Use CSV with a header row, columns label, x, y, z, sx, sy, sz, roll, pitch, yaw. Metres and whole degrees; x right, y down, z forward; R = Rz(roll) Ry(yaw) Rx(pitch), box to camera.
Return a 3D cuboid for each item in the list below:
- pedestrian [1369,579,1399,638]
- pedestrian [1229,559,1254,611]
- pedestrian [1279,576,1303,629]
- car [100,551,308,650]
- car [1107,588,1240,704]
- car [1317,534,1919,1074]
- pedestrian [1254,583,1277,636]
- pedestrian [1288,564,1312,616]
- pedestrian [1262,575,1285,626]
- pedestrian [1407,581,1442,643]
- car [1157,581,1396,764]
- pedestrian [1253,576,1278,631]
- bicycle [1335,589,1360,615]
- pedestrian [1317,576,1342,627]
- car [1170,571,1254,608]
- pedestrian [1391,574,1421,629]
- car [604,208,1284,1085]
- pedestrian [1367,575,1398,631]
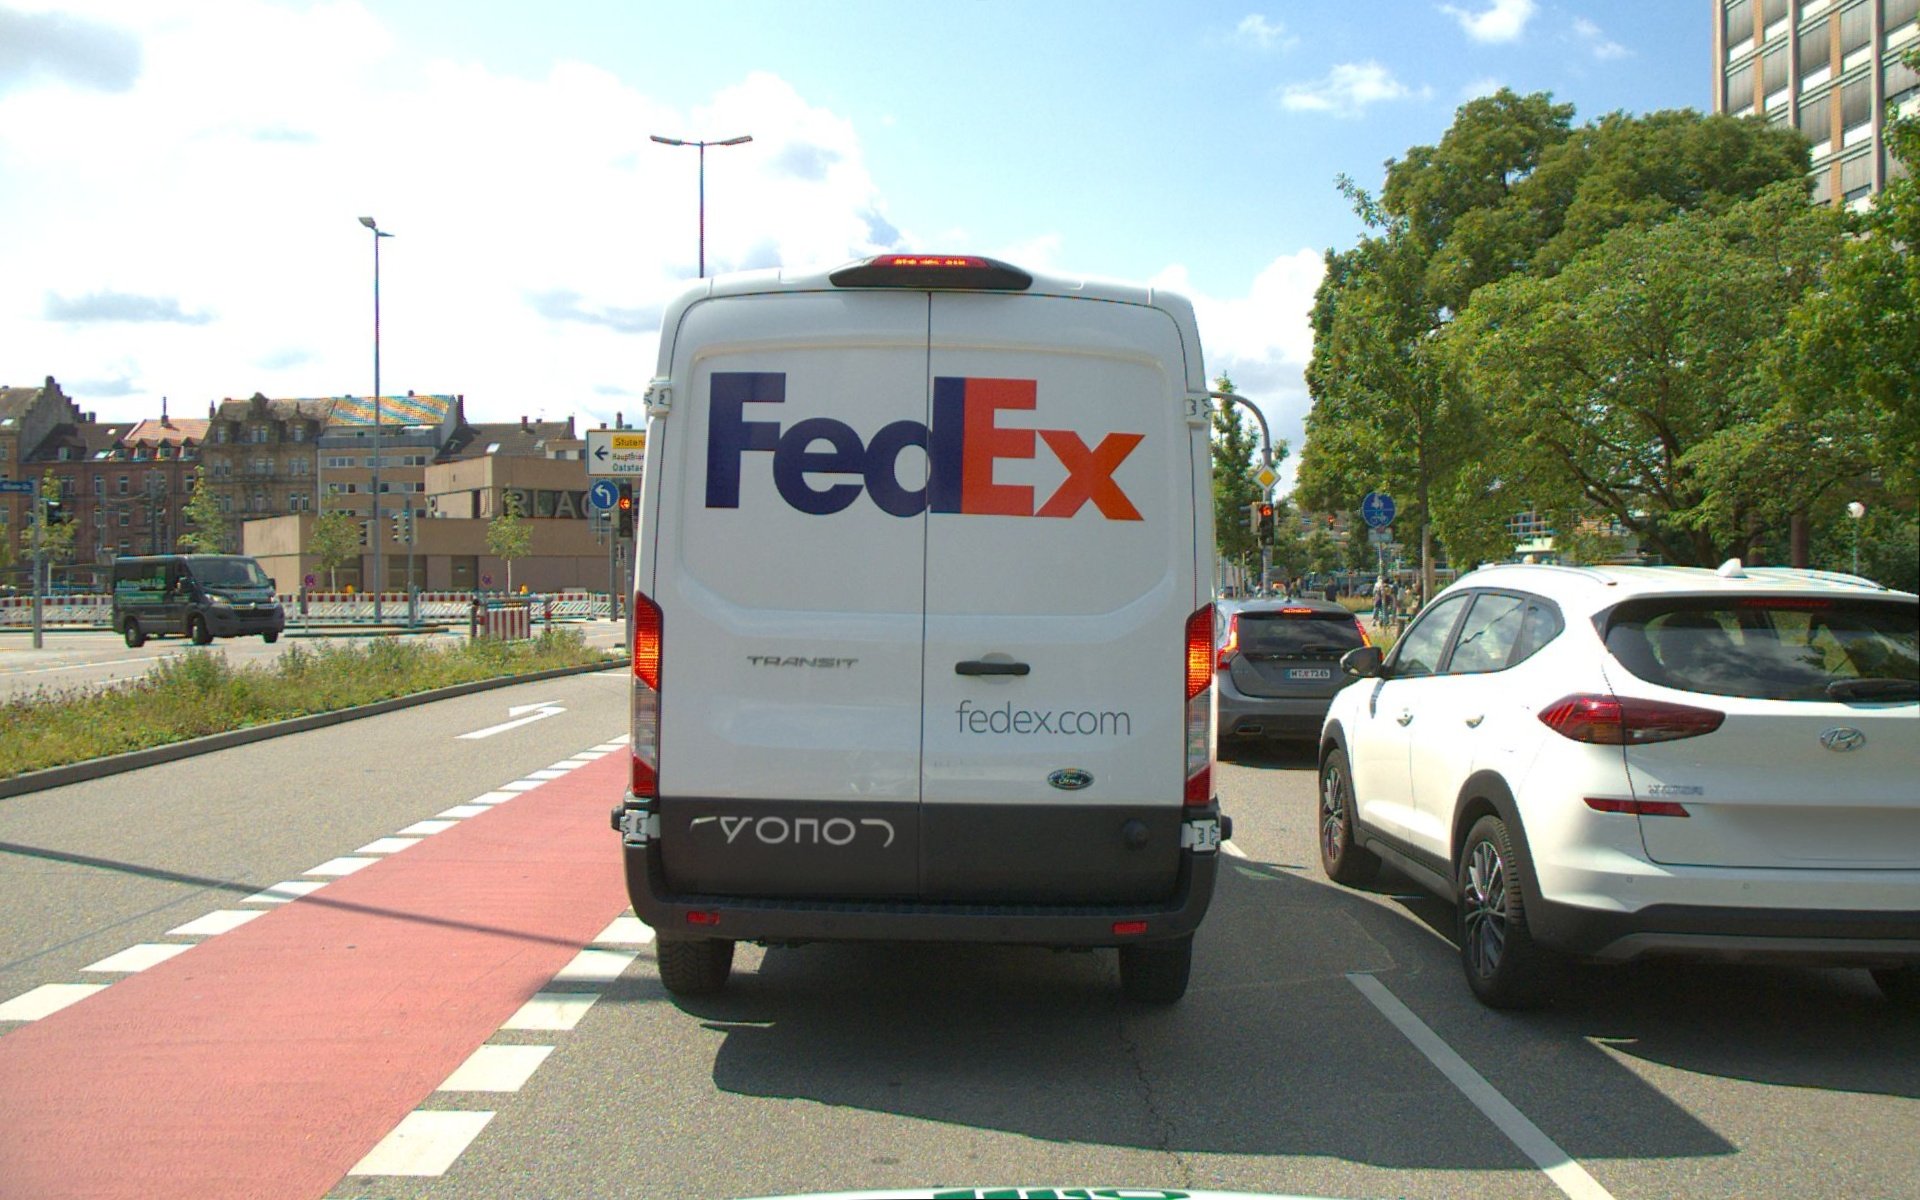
label,x,y,z,sx,sy,sz,roll,pitch,yaw
pedestrian,13.664,0.256,53.281,0.743,1.882,0.816,0,0,-1
pedestrian,10.238,-0.557,60.148,0.796,1.882,0.761,0,0,2
pedestrian,11.900,0.072,59.493,0.743,1.882,0.816,0,0,18
car,-18.424,0.027,40.255,4.910,2.213,2.150,-2,1,31
car,2.936,0.586,23.310,1.468,1.489,3.474,0,1,1
car,2.860,0.622,7.231,1.777,1.708,3.974,0,1,1
pedestrian,10.935,0.345,59.188,0.742,1.882,0.817,0,0,14
pedestrian,12.634,-0.375,61.482,0.743,1.882,0.816,0,0,1
pedestrian,11.733,0.023,61.915,0.742,1.882,0.817,0,0,5
pedestrian,12.603,0.318,44.916,0.743,1.684,0.816,0,0,3
car,2.959,0.604,16.154,1.656,1.576,3.721,0,1,1
pedestrian,10.495,0.116,56.825,0.743,1.882,0.816,0,0,18
bicycle,22.863,0.108,97.508,1.395,1.489,4.314,0,1,14
pedestrian,13.629,0.052,60.996,0.743,1.882,0.816,0,0,3
car,19.949,-0.832,130.783,7.012,2.765,2.462,1,-1,-39
pedestrian,15.195,0.047,56.367,0.745,1.882,0.814,0,0,-9
car,-0.020,0.117,7.188,2.030,2.626,4.428,0,1,1
pedestrian,14.306,0.094,56.065,0.745,1.882,0.814,-1,0,-11
